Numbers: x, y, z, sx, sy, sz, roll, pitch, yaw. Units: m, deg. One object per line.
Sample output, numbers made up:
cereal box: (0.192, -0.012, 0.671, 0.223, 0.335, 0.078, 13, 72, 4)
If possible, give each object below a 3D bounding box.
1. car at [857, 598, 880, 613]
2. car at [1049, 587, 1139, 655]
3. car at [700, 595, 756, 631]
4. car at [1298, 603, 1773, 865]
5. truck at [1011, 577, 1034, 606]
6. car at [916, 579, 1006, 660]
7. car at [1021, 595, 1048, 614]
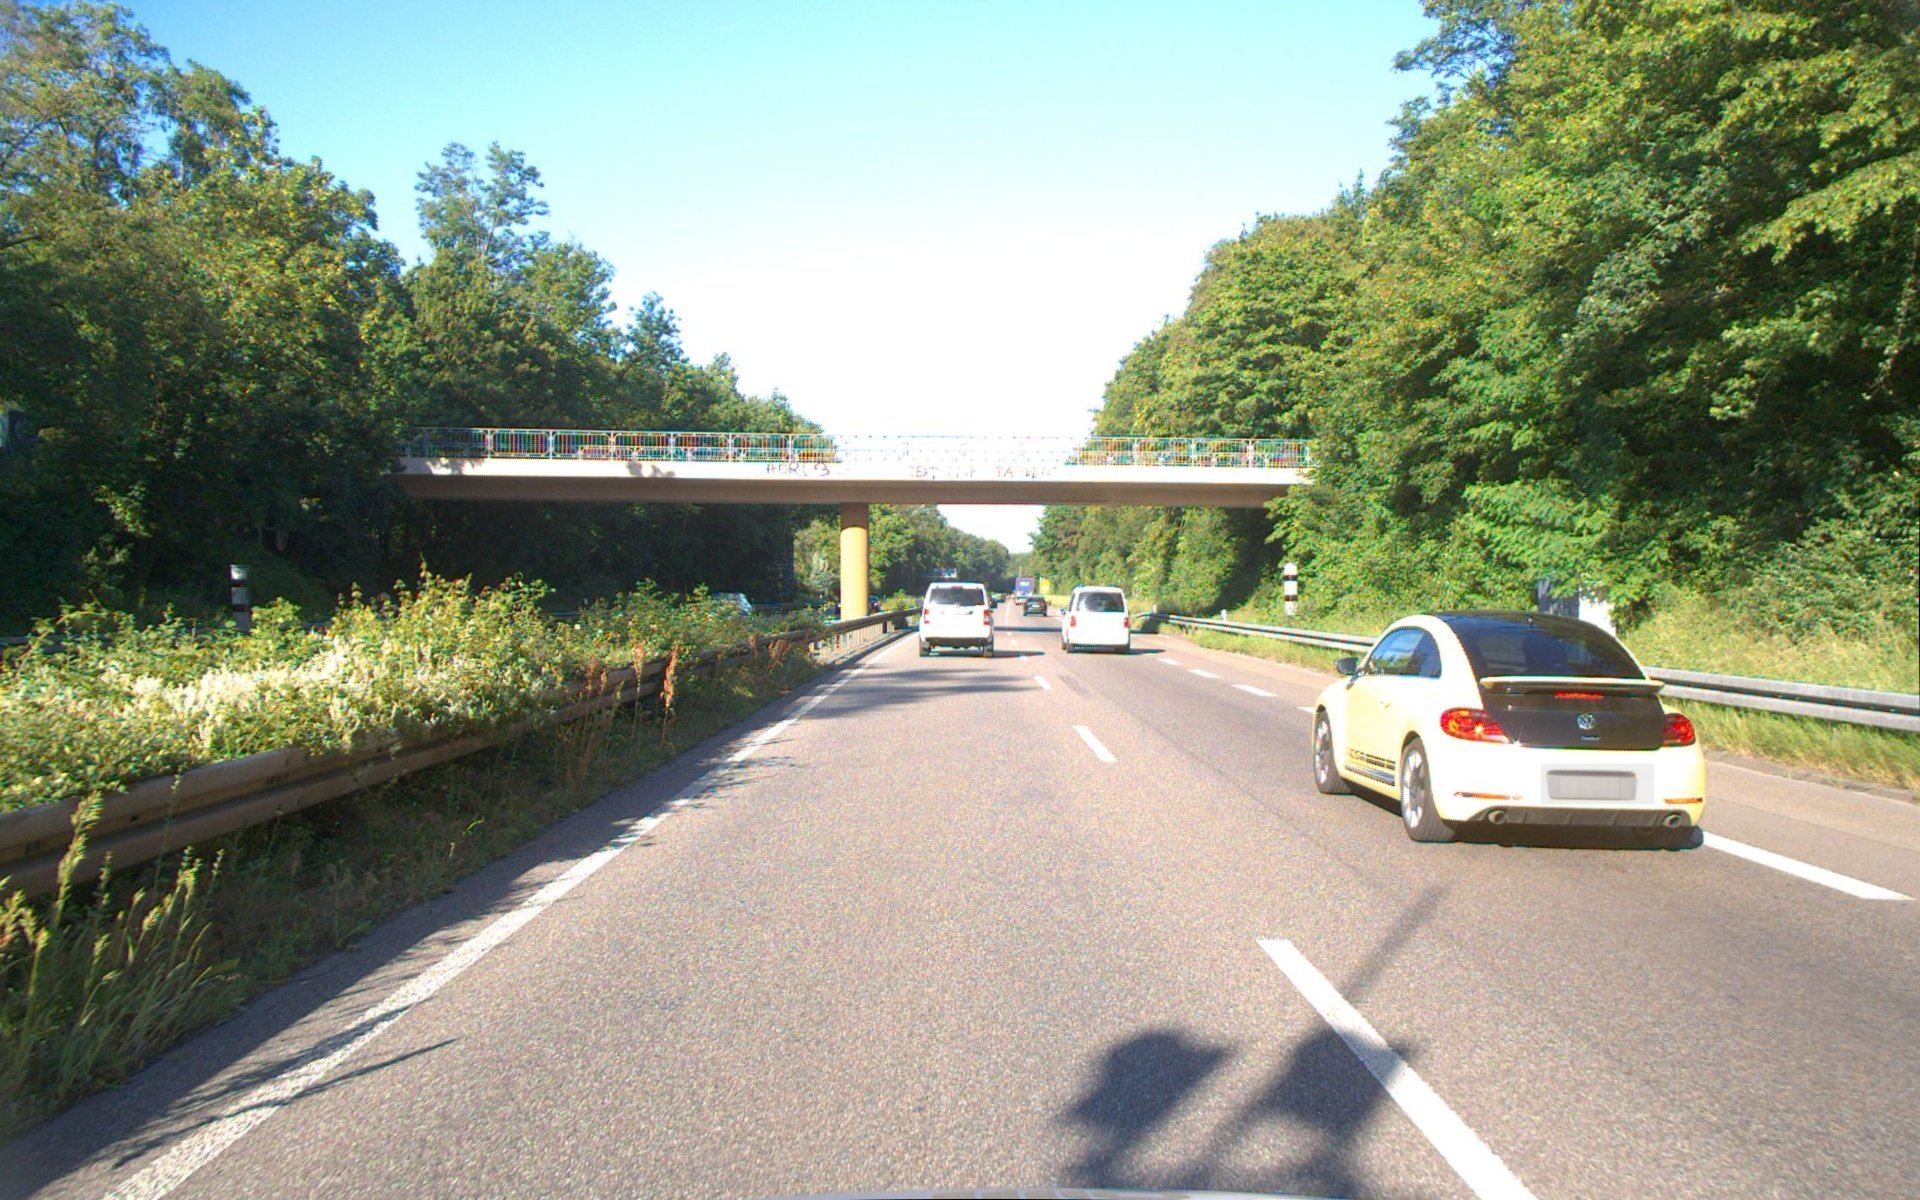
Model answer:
car: (-9.147, 0.562, 165.479, 1.920, 1.475, 4.584, 1, 0, 0)
car: (3.698, 0.554, 46.361, 1.827, 1.801, 4.465, 0, 0, -5)
car: (-11.373, 0.614, 81.319, 1.920, 1.688, 5.041, 0, 0, 1)
car: (3.839, 0.796, 11.916, 1.841, 1.487, 4.355, 1, 0, -1)
truck: (9.302, -1.288, 247.330, 3.423, 4.246, 8.863, 0, 0, 2)
car: (-0.033, 0.456, 41.090, 2.043, 1.860, 3.998, 2, 0, -2)
car: (5.540, 0.340, 123.735, 1.952, 1.422, 4.001, 0, 0, 1)
